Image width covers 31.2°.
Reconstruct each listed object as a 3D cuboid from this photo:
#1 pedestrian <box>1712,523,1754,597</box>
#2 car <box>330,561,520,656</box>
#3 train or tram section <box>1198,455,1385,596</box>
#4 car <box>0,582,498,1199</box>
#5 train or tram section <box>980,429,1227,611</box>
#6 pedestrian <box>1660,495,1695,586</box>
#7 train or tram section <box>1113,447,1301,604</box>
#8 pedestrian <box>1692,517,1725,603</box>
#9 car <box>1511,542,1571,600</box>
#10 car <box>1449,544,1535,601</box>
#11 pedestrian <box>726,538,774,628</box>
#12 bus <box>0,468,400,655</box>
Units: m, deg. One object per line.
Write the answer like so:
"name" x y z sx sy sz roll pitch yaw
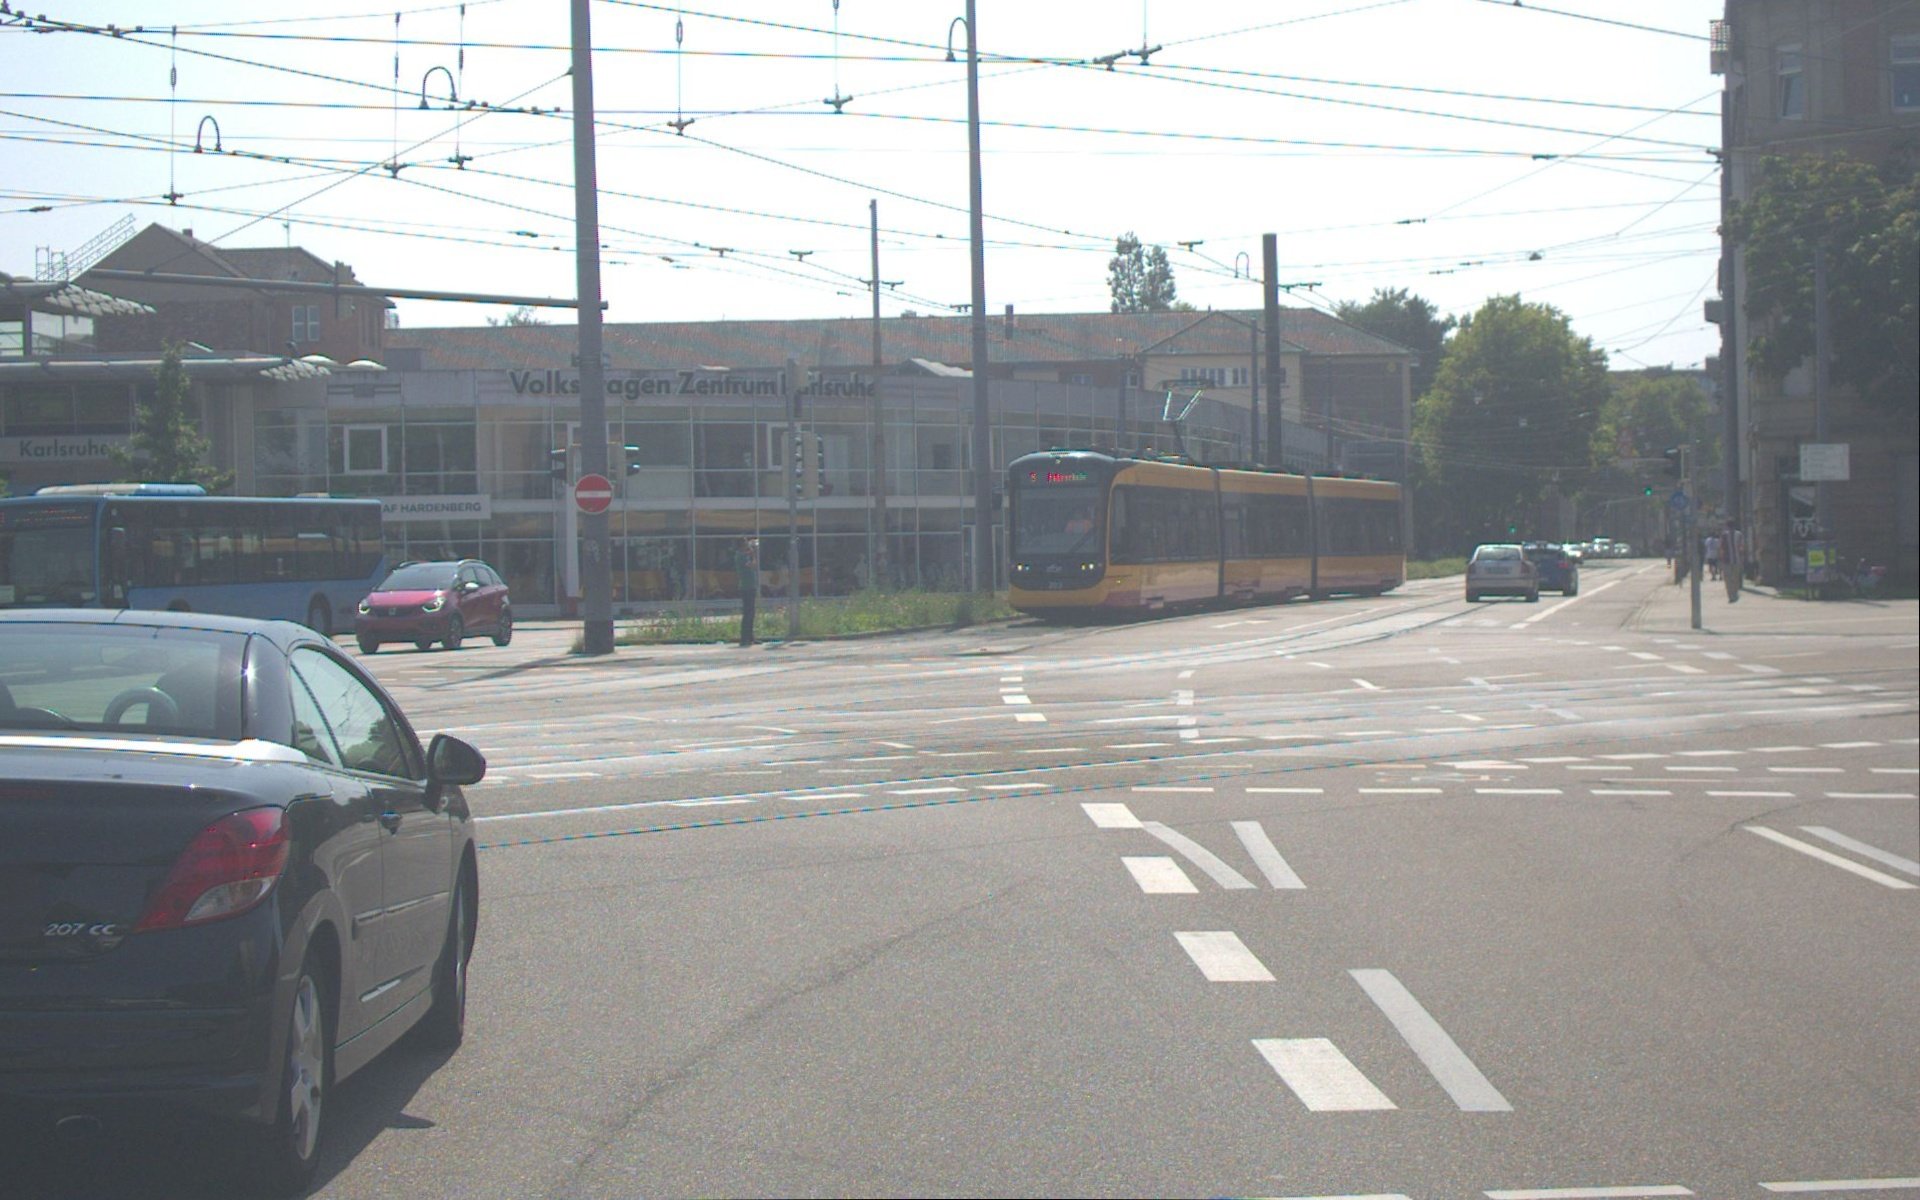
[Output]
"pedestrian" 16.795 -0.873 74.657 0.699 1.597 0.573 -1 1 -10
"car" -9.280 0.129 59.972 1.751 1.546 3.997 -1 1 16
"train or tram section" 9.132 -1.988 93.017 2.590 3.504 12.962 -1 1 16
"car" -2.387 0.667 9.431 1.765 1.383 3.781 1 1 -1
"train or tram section" 3.186 -1.638 72.179 2.590 3.504 10.890 -1 1 16
"pedestrian" 23.861 -1.986 114.339 0.983 3.007 0.974 -1 1 3
"train or tram section" 6.016 -1.759 82.159 2.590 3.504 9.652 -1 1 16
"pedestrian" 26.485 -1.419 121.645 0.983 3.007 0.974 -1 1 4
"car" 16.507 -0.840 97.650 1.637 1.612 3.999 -1 1 10
"car" 13.724 -0.722 88.528 1.771 1.411 4.186 -1 1 14
"pedestrian" -3.389 -0.281 55.493 0.676 1.438 0.366 -1 1 -19
"bus" -13.916 -0.727 62.904 2.564 3.072 12.015 -1 1 14
